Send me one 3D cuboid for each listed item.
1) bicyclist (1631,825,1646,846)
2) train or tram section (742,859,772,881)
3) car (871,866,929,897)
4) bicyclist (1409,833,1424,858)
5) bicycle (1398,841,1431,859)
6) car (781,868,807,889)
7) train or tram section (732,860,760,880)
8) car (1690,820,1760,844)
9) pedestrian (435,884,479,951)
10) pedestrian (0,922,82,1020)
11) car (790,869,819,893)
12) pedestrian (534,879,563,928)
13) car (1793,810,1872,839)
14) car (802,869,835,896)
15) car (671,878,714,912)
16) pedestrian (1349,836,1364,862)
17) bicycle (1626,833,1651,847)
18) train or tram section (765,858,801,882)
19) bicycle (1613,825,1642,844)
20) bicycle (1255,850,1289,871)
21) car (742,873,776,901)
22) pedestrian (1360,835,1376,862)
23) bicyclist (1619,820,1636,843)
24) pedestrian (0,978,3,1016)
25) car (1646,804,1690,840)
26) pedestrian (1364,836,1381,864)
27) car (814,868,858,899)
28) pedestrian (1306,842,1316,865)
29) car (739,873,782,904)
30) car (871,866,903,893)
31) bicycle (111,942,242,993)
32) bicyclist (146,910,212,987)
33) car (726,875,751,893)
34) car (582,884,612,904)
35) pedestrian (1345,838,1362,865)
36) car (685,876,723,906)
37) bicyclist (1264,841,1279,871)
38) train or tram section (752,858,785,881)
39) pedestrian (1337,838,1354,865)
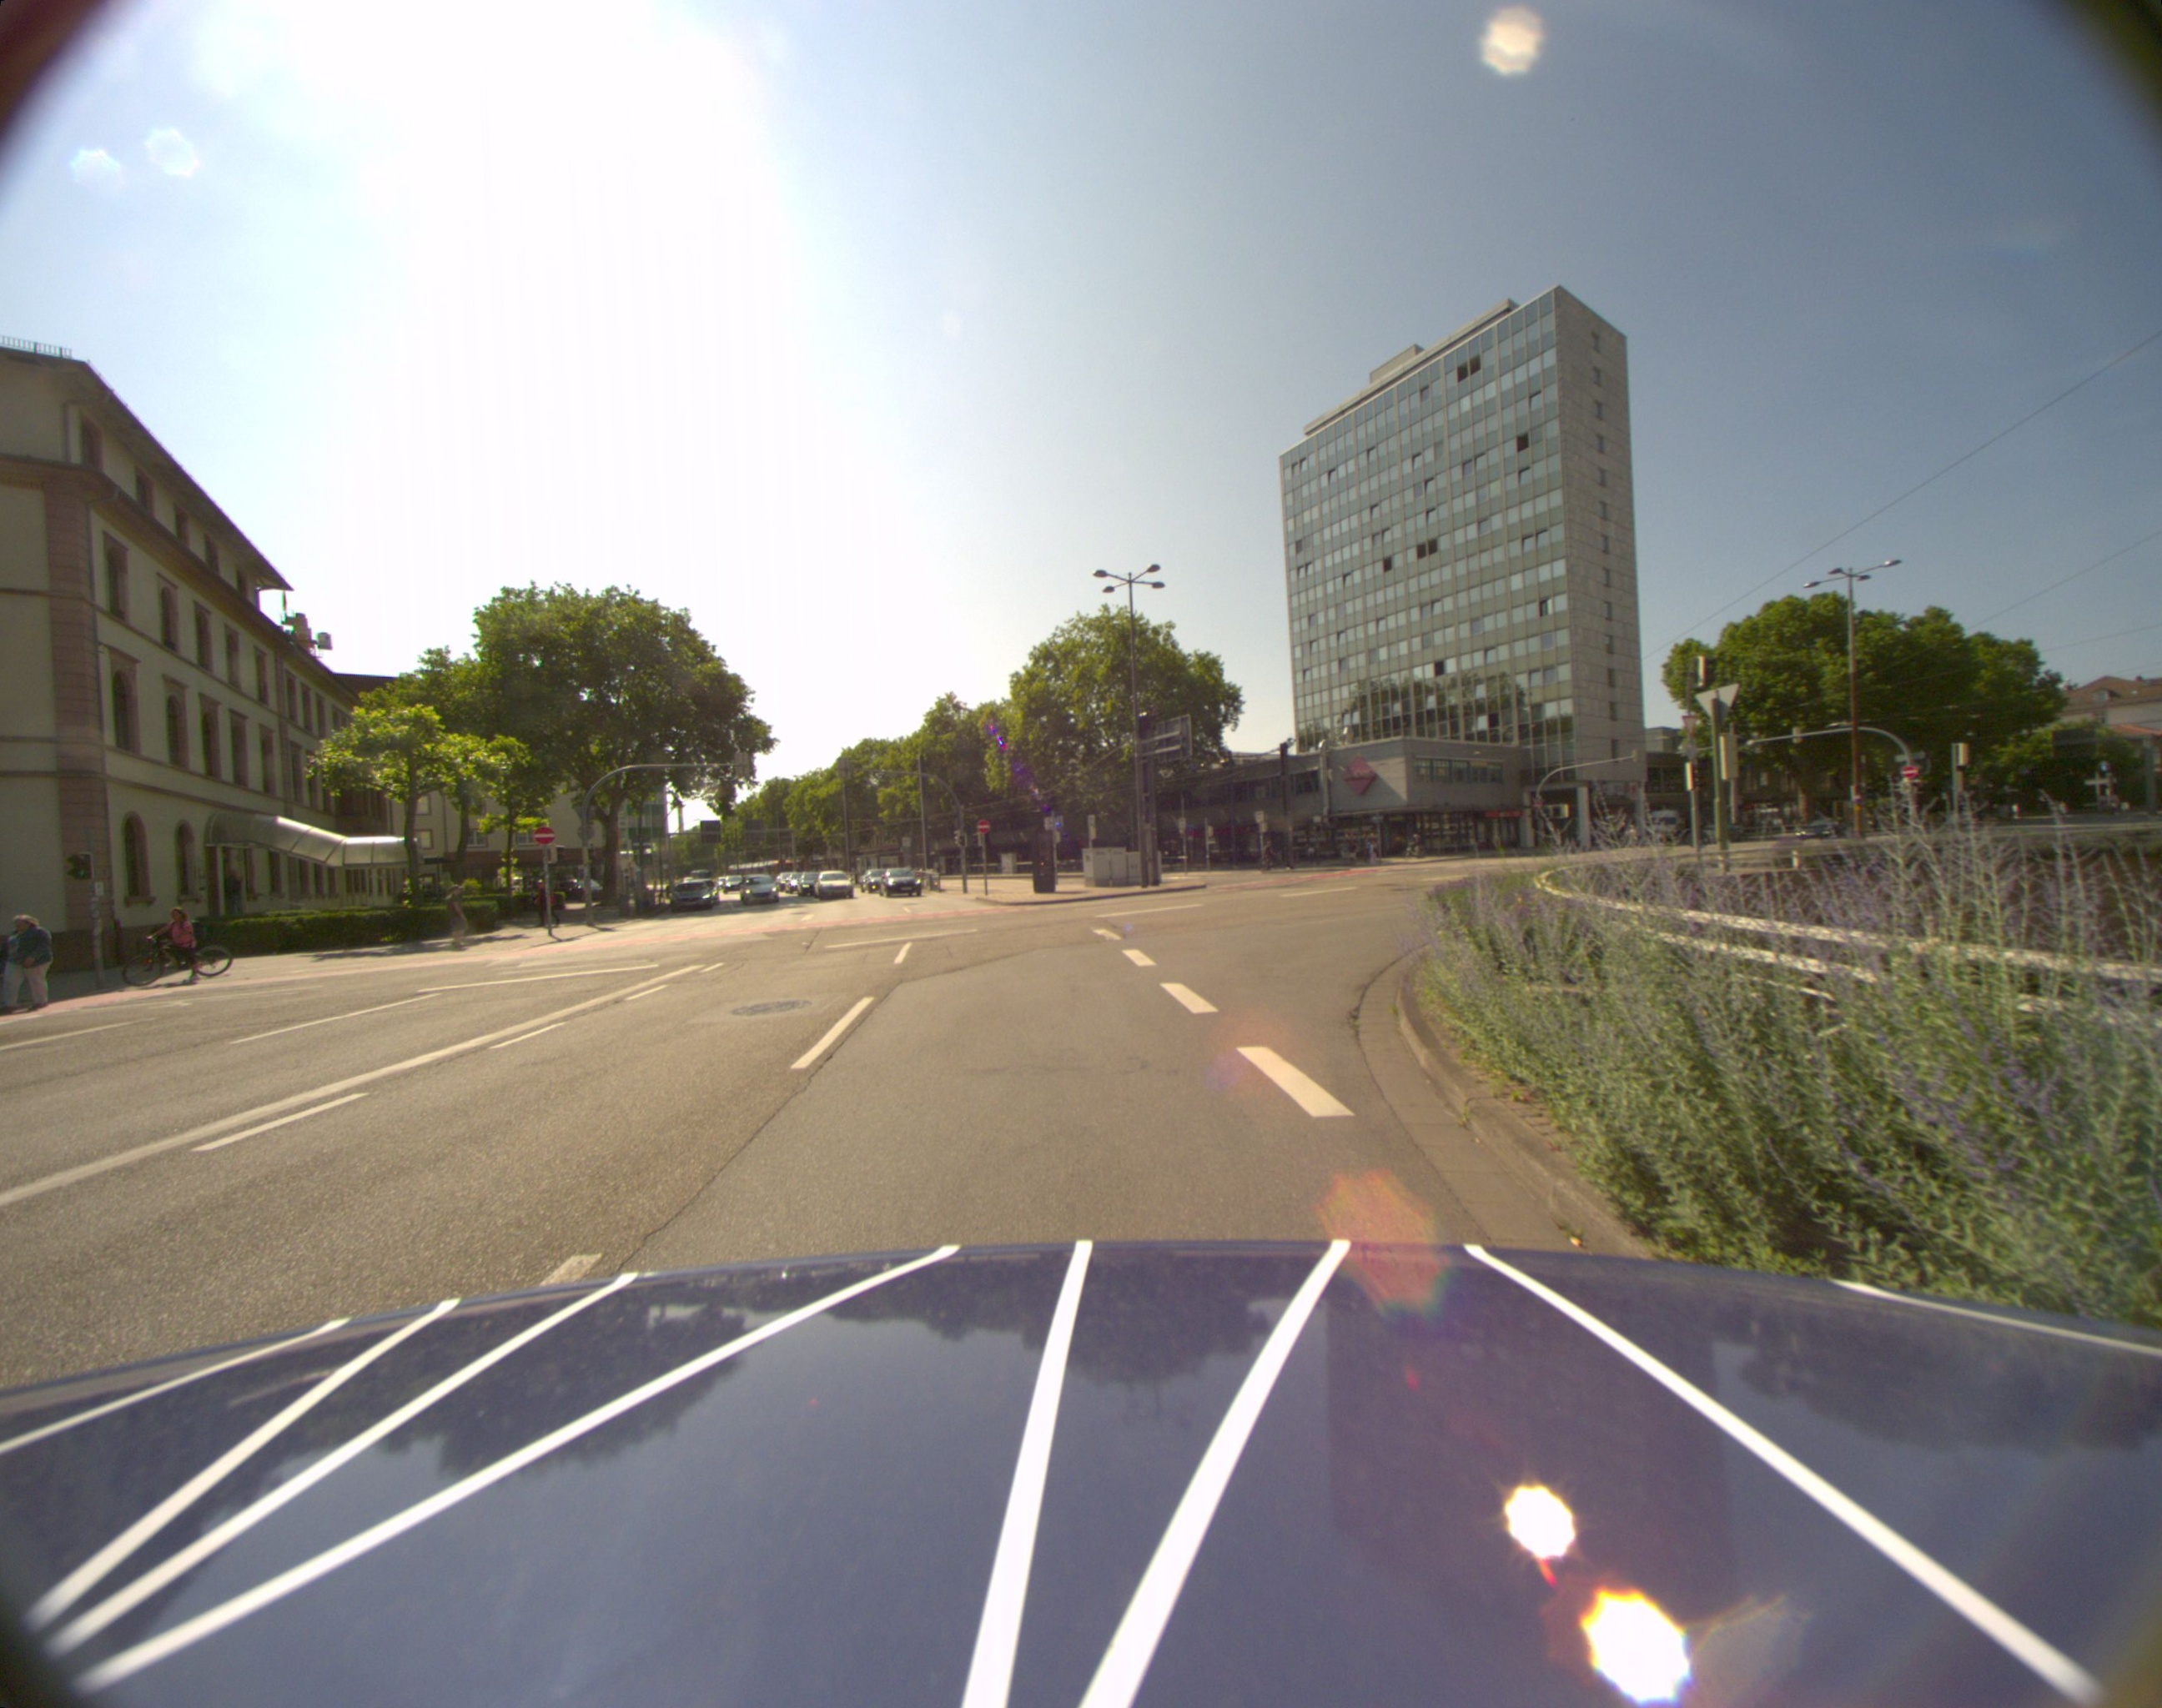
[{"bbox_3d":[40.604,-1.329,55.369,0.685,1.518,0.581,-4,2,-23],"label":"bicyclist"},{"bbox_3d":[-52.824,2.631,123.678,2.739,3.248,8.716,-4,0,-34],"label":"train or tram section"},{"bbox_3d":[-9.474,1.406,39.546,1.795,1.443,4.271,-2,0,-30],"label":"car"},{"bbox_3d":[23.067,-0.576,52.256,0.684,1.677,0.583,-3,1,-3],"label":"bicyclist"},{"bbox_3d":[22.921,-0.266,52.254,1.968,1.096,0.577,-3,1,-4],"label":"bicycle"},{"bbox_3d":[-22.636,1.880,59.962,1.794,1.514,3.967,-2,0,-20],"label":"car"},{"bbox_3d":[-57.722,2.771,130.896,2.739,3.248,8.716,-4,0,-34],"label":"train or tram section"},{"bbox_3d":[45.142,-1.523,53.249,4.167,1.452,1.879,-3,0,-20],"label":"car"},{"bbox_3d":[-17.643,1.783,21.498,0.590,1.834,0.730,-3,1,34],"label":"pedestrian"},{"bbox_3d":[-18.265,2.013,13.139,0.774,1.563,0.828,-3,1,-14],"label":"pedestrian"},{"bbox_3d":[-19.143,1.831,52.571,1.794,1.514,3.967,-2,0,-20],"label":"car"},{"bbox_3d":[-20.208,1.875,28.862,0.727,1.795,0.651,-4,1,-27],"label":"pedestrian"},{"bbox_3d":[46.274,-1.824,46.782,4.082,1.525,1.879,-3,0,-20],"label":"car"},{"bbox_3d":[-16.423,1.727,47.415,1.794,1.514,3.967,-2,0,-20],"label":"car"},{"bbox_3d":[-19.214,1.974,37.506,1.795,1.443,3.965,-2,0,-28],"label":"car"},{"bbox_3d":[19.852,-0.374,54.728,0.823,1.796,0.671,-2,1,4],"label":"pedestrian"},{"bbox_3d":[40.626,-1.009,55.370,1.812,0.878,0.591,-4,2,-23],"label":"bicycle"},{"bbox_3d":[-42.996,2.349,109.312,2.739,3.248,8.716,-4,0,-34],"label":"train or tram section"},{"bbox_3d":[41.252,-1.463,57.377,1.941,1.292,0.715,-3,2,-17],"label":"bicycle"},{"bbox_3d":[11.101,0.370,44.082,1.816,1.160,0.521,-2,1,-6],"label":"bicycle"},{"bbox_3d":[-19.618,1.953,46.254,1.794,1.521,3.966,-2,0,-23],"label":"car"},{"bbox_3d":[20.153,-0.396,53.381,0.823,1.825,0.671,-2,1,-3],"label":"pedestrian"},{"bbox_3d":[41.284,-1.695,57.395,0.684,1.758,0.696,-3,2,-17],"label":"bicyclist"},{"bbox_3d":[-18.918,1.979,12.607,0.754,1.650,0.828,-3,1,-15],"label":"pedestrian"},{"bbox_3d":[51.483,-2.816,66.594,4.643,2.899,1.743,-4,1,-36],"label":"car"},{"bbox_3d":[19.782,-0.285,51.494,0.825,1.825,0.669,-3,1,-35],"label":"pedestrian"},{"bbox_3d":[-13.064,1.557,40.320,1.722,1.491,4.483,-2,-1,-24],"label":"car"},{"bbox_3d":[16.614,-0.033,54.783,0.598,1.628,0.566,-2,1,22],"label":"pedestrian"},{"bbox_3d":[-16.846,1.768,39.885,1.794,1.443,3.965,-2,0,-27],"label":"car"},{"bbox_3d":[-12.025,1.526,47.032,1.793,1.508,3.969,-2,0,-14],"label":"car"},{"bbox_3d":[-20.027,2.493,16.886,0.592,0.850,1.746,-3,0,15],"label":"bicycle"},{"bbox_3d":[-20.044,2.091,16.899,0.592,1.597,0.685,-3,1,15],"label":"bicyclist"},{"bbox_3d":[-30.666,2.695,68.141,1.794,1.443,3.967,-2,0,-21],"label":"car"},{"bbox_3d":[-36.207,2.964,56.903,1.593,1.314,3.572,-4,0,-29],"label":"car"},{"bbox_3d":[18.581,-0.190,51.783,0.825,1.825,0.669,-3,1,-34],"label":"pedestrian"},{"bbox_3d":[-21.527,2.049,43.386,1.794,1.516,3.965,-2,0,-27],"label":"car"},{"bbox_3d":[11.058,0.093,44.073,0.684,1.697,0.521,-3,1,-7],"label":"bicyclist"},{"bbox_3d":[-47.903,2.490,116.476,2.739,3.248,8.716,-4,0,-34],"label":"train or tram section"},{"bbox_3d":[18.270,-0.141,52.433,0.825,1.825,0.733,-3,1,-34],"label":"pedestrian"}]
